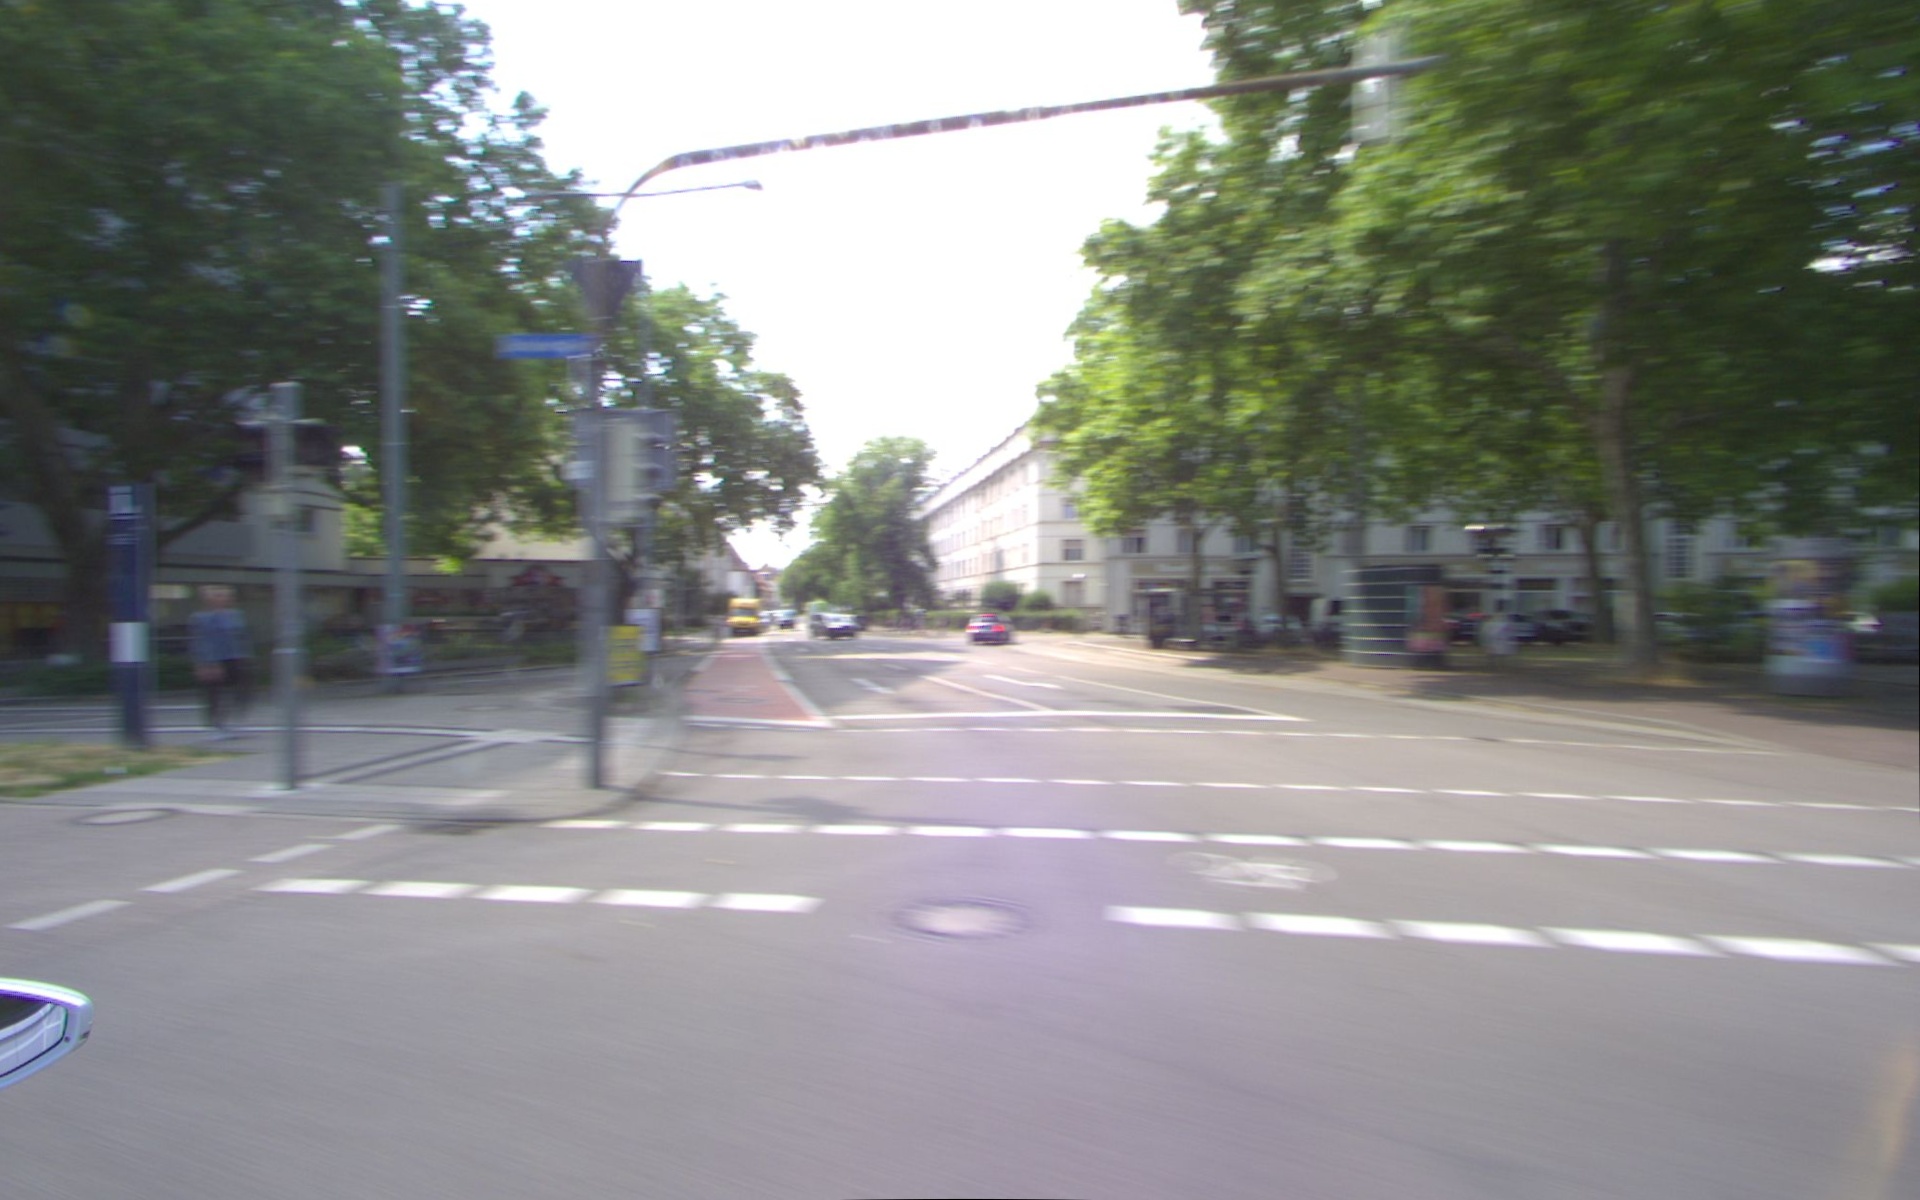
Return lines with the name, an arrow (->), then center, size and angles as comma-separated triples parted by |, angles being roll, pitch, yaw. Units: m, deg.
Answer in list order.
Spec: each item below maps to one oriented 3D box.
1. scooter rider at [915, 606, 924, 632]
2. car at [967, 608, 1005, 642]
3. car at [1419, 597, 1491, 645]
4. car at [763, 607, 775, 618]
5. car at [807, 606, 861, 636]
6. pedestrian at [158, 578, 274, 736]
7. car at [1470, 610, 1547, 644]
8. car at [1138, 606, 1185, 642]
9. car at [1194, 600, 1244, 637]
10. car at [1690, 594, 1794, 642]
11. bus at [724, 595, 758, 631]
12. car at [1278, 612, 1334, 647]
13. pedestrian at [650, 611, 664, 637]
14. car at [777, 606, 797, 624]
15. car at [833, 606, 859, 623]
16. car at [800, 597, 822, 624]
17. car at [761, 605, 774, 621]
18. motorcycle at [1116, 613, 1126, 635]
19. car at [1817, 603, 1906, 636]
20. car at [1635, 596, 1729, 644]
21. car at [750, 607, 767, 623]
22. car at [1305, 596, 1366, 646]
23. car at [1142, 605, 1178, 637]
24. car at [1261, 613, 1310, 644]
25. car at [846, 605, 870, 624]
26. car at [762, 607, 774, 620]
scooter rider -> -2.838, 1.310, 70.813 | 0.518, 1.836, 0.648 | 0, 1, -14
car -> 1.310, 1.197, 49.737 | 1.664, 1.558, 3.466 | 0, 1, 5
car -> 22.802, 0.921, 46.250 | 1.962, 2.103, 3.997 | 0, 0, 11
car -> -28.477, 1.845, 148.992 | 1.674, 1.683, 3.745 | 0, 0, -10
car -> -7.590, 1.247, 59.961 | 1.766, 1.683, 4.294 | 0, 1, -29
pedestrian -> -8.781, 0.651, 11.839 | 0.870, 1.807, 0.694 | 0, 1, 13
car -> 24.998, 1.210, 45.785 | 1.962, 1.441, 3.998 | 0, 0, 11
car -> 9.692, 1.130, 48.484 | 1.995, 1.621, 4.537 | 0, 0, 9
car -> 12.585, 0.866, 48.887 | 1.875, 1.712, 4.537 | 0, 0, 9
car -> 34.802, 0.765, 44.701 | 1.962, 2.040, 3.998 | 0, 0, 9
bus -> -17.132, 0.981, 78.092 | 2.358, 2.744, 6.360 | 0, 0, -15
car -> 14.879, 1.240, 43.232 | 1.441, 1.407, 3.067 | 0, 0, 2
pedestrian -> -17.473, 1.377, 57.685 | 0.658, 1.498, 0.575 | 1, 1, -5
car -> -16.260, 1.402, 94.075 | 1.833, 1.683, 3.745 | 0, 0, -10
car -> -10.359, 1.306, 90.546 | 1.767, 1.545, 3.672 | 0, 0, -16
car -> -15.214, 1.061, 102.273 | 2.086, 2.676, 6.322 | 0, 0, -9
car -> -25.790, 1.717, 133.982 | 1.626, 1.958, 3.745 | 0, 0, -10
motorcycle -> 9.533, 1.424, 59.315 | 0.560, 1.260, 1.884 | 0, 0, 8
car -> 47.271, 0.985, 52.611 | 1.712, 1.658, 3.997 | 0, 0, 12
car -> 32.439, 0.869, 45.144 | 1.962, 2.040, 3.997 | 0, 0, 12
car -> -21.929, 1.608, 108.800 | 1.702, 1.683, 3.745 | 0, 0, -10
car -> 17.500, 0.941, 46.874 | 1.962, 2.211, 4.255 | 0, 0, 11
car -> 11.903, 1.216, 59.826 | 1.875, 1.819, 4.719 | 0, 0, 8
car -> 15.322, 1.316, 47.241 | 1.441, 1.407, 3.235 | 0, 0, 4
car -> -8.770, 1.240, 85.821 | 1.698, 1.575, 3.629 | 0, 0, -12
car -> -27.241, 1.893, 142.140 | 1.634, 1.683, 3.745 | 0, 0, -10
